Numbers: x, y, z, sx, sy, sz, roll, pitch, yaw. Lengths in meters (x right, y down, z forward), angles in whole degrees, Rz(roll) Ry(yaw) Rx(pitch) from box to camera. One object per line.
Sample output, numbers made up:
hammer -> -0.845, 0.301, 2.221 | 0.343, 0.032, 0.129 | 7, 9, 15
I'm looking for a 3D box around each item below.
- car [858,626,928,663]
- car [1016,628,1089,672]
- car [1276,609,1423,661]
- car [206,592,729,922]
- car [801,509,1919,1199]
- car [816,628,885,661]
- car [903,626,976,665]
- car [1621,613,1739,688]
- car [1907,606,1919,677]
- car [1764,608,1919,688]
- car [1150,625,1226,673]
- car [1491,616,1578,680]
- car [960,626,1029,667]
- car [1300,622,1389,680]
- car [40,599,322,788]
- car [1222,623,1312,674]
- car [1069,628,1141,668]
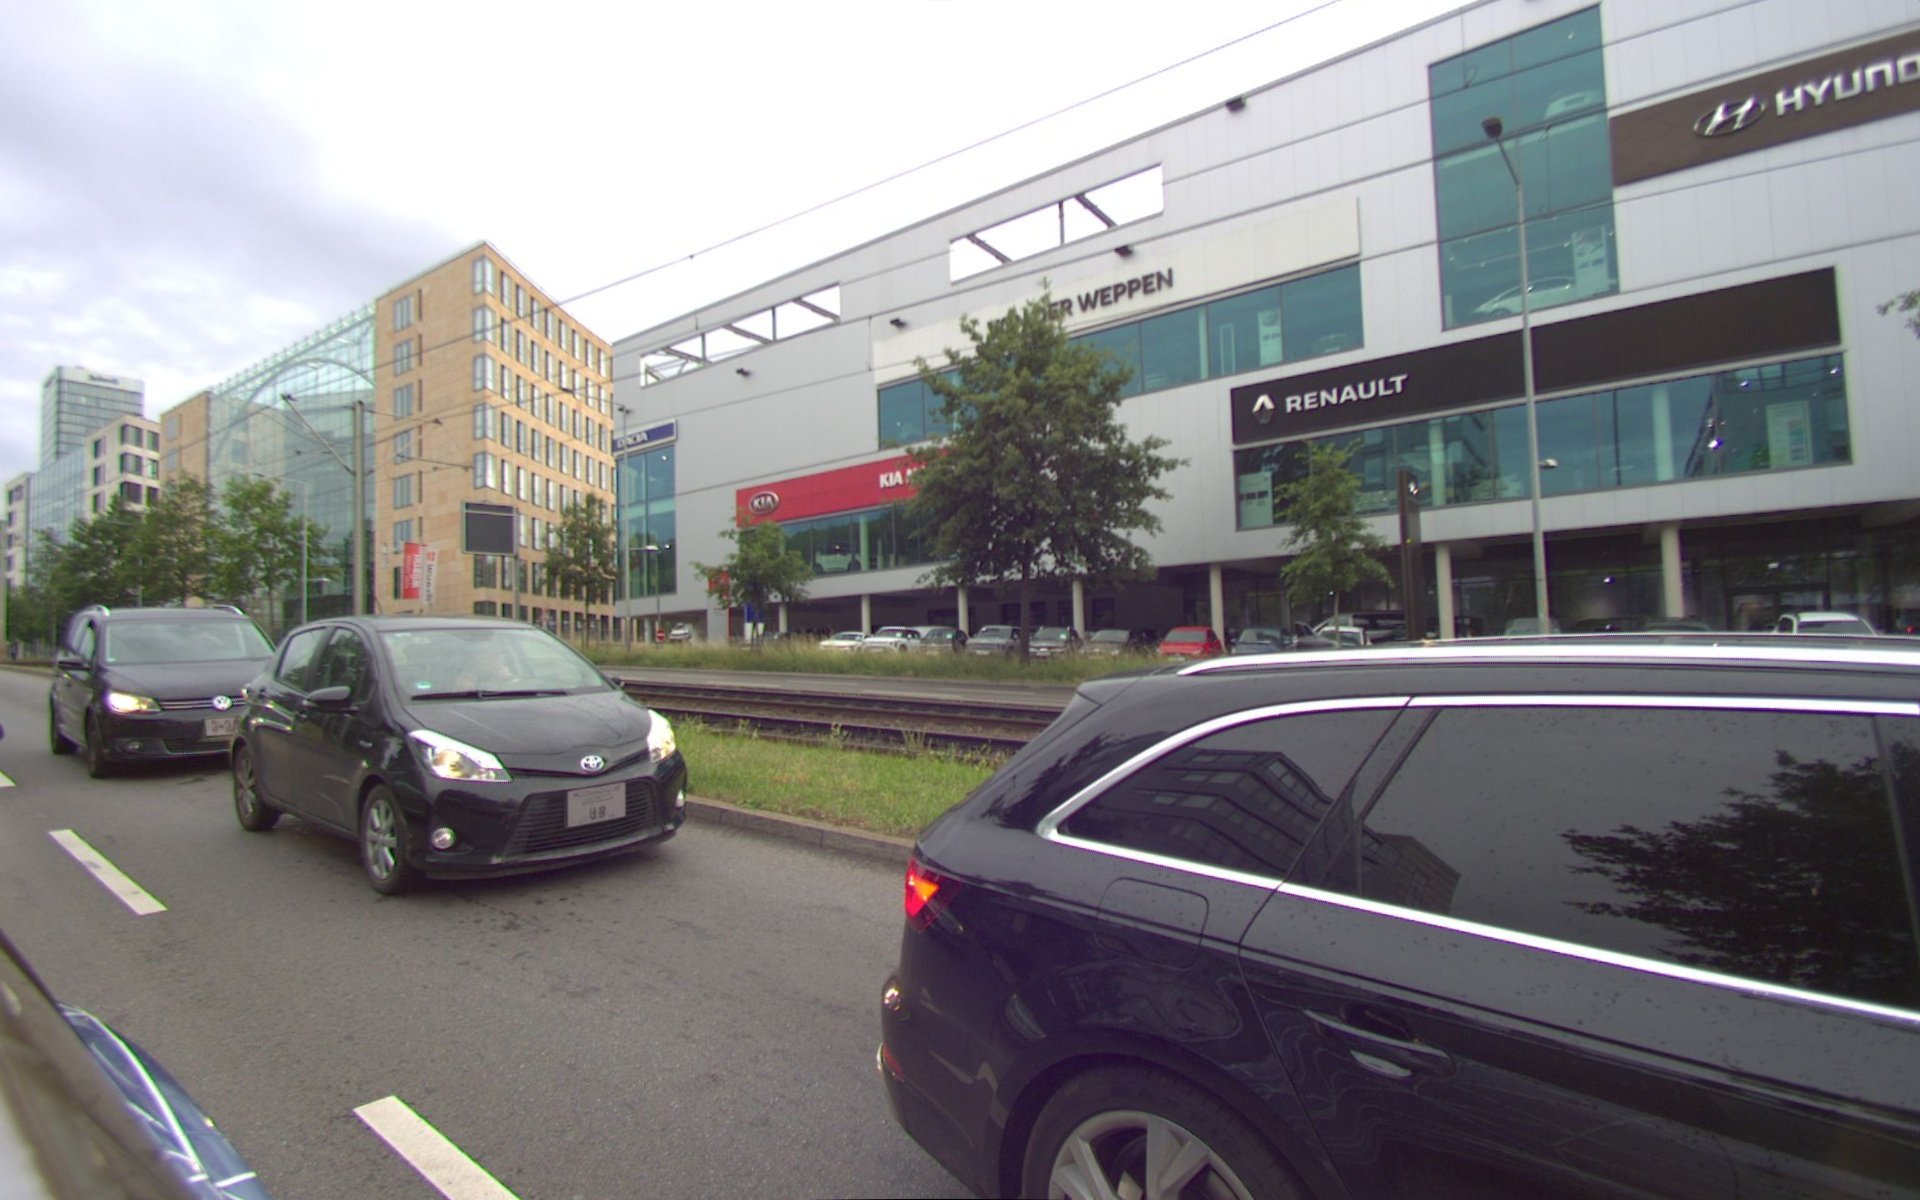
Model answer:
car -> -2.784, 1.874, 42.963 | 1.685, 1.304, 3.643 | -2, 1, 18
car -> 3.508, 1.842, 37.784 | 1.688, 1.362, 3.498 | -2, 1, 24
car -> 13.967, 1.258, 36.498 | 4.488, 1.796, 1.997 | -1, -1, 5
car -> -3.382, 0.778, 6.640 | 3.823, 1.544, 1.683 | -1, -1, 40
car -> 1.911, 0.637, 1.493 | 4.511, 1.478, 1.762 | -2, -2, 41
car -> -4.775, 1.944, 44.639 | 1.685, 1.196, 3.643 | -2, 1, 18
car -> -0.777, 1.818, 41.032 | 1.688, 1.362, 3.499 | -2, 1, 23
car -> 18.067, 1.201, 25.585 | 1.992, 1.562, 4.331 | -1, 1, 30
car -> 22.830, 1.014, 22.224 | 1.992, 1.627, 4.331 | -1, 1, 30
car -> 20.605, 1.054, 23.809 | 1.992, 1.562, 4.331 | -1, 1, 30
car -> 7.823, 1.620, 34.446 | 1.789, 1.362, 3.903 | -2, 1, 24
car -> 15.867, 1.277, 27.971 | 1.925, 1.470, 3.981 | -1, 1, 30
car -> 1.394, 1.798, 39.711 | 1.686, 1.362, 3.503 | -2, 1, 20
car -> 11.960, 1.520, 31.346 | 1.914, 1.470, 4.005 | -1, 1, 30
car -> -8.470, 0.851, 10.849 | 4.318, 1.619, 1.762 | -2, -1, 44
car -> 10.086, 1.545, 33.043 | 1.914, 1.362, 4.005 | -1, 1, 30
car -> 5.256, 1.690, 36.324 | 1.688, 1.190, 3.498 | -2, 1, 24
